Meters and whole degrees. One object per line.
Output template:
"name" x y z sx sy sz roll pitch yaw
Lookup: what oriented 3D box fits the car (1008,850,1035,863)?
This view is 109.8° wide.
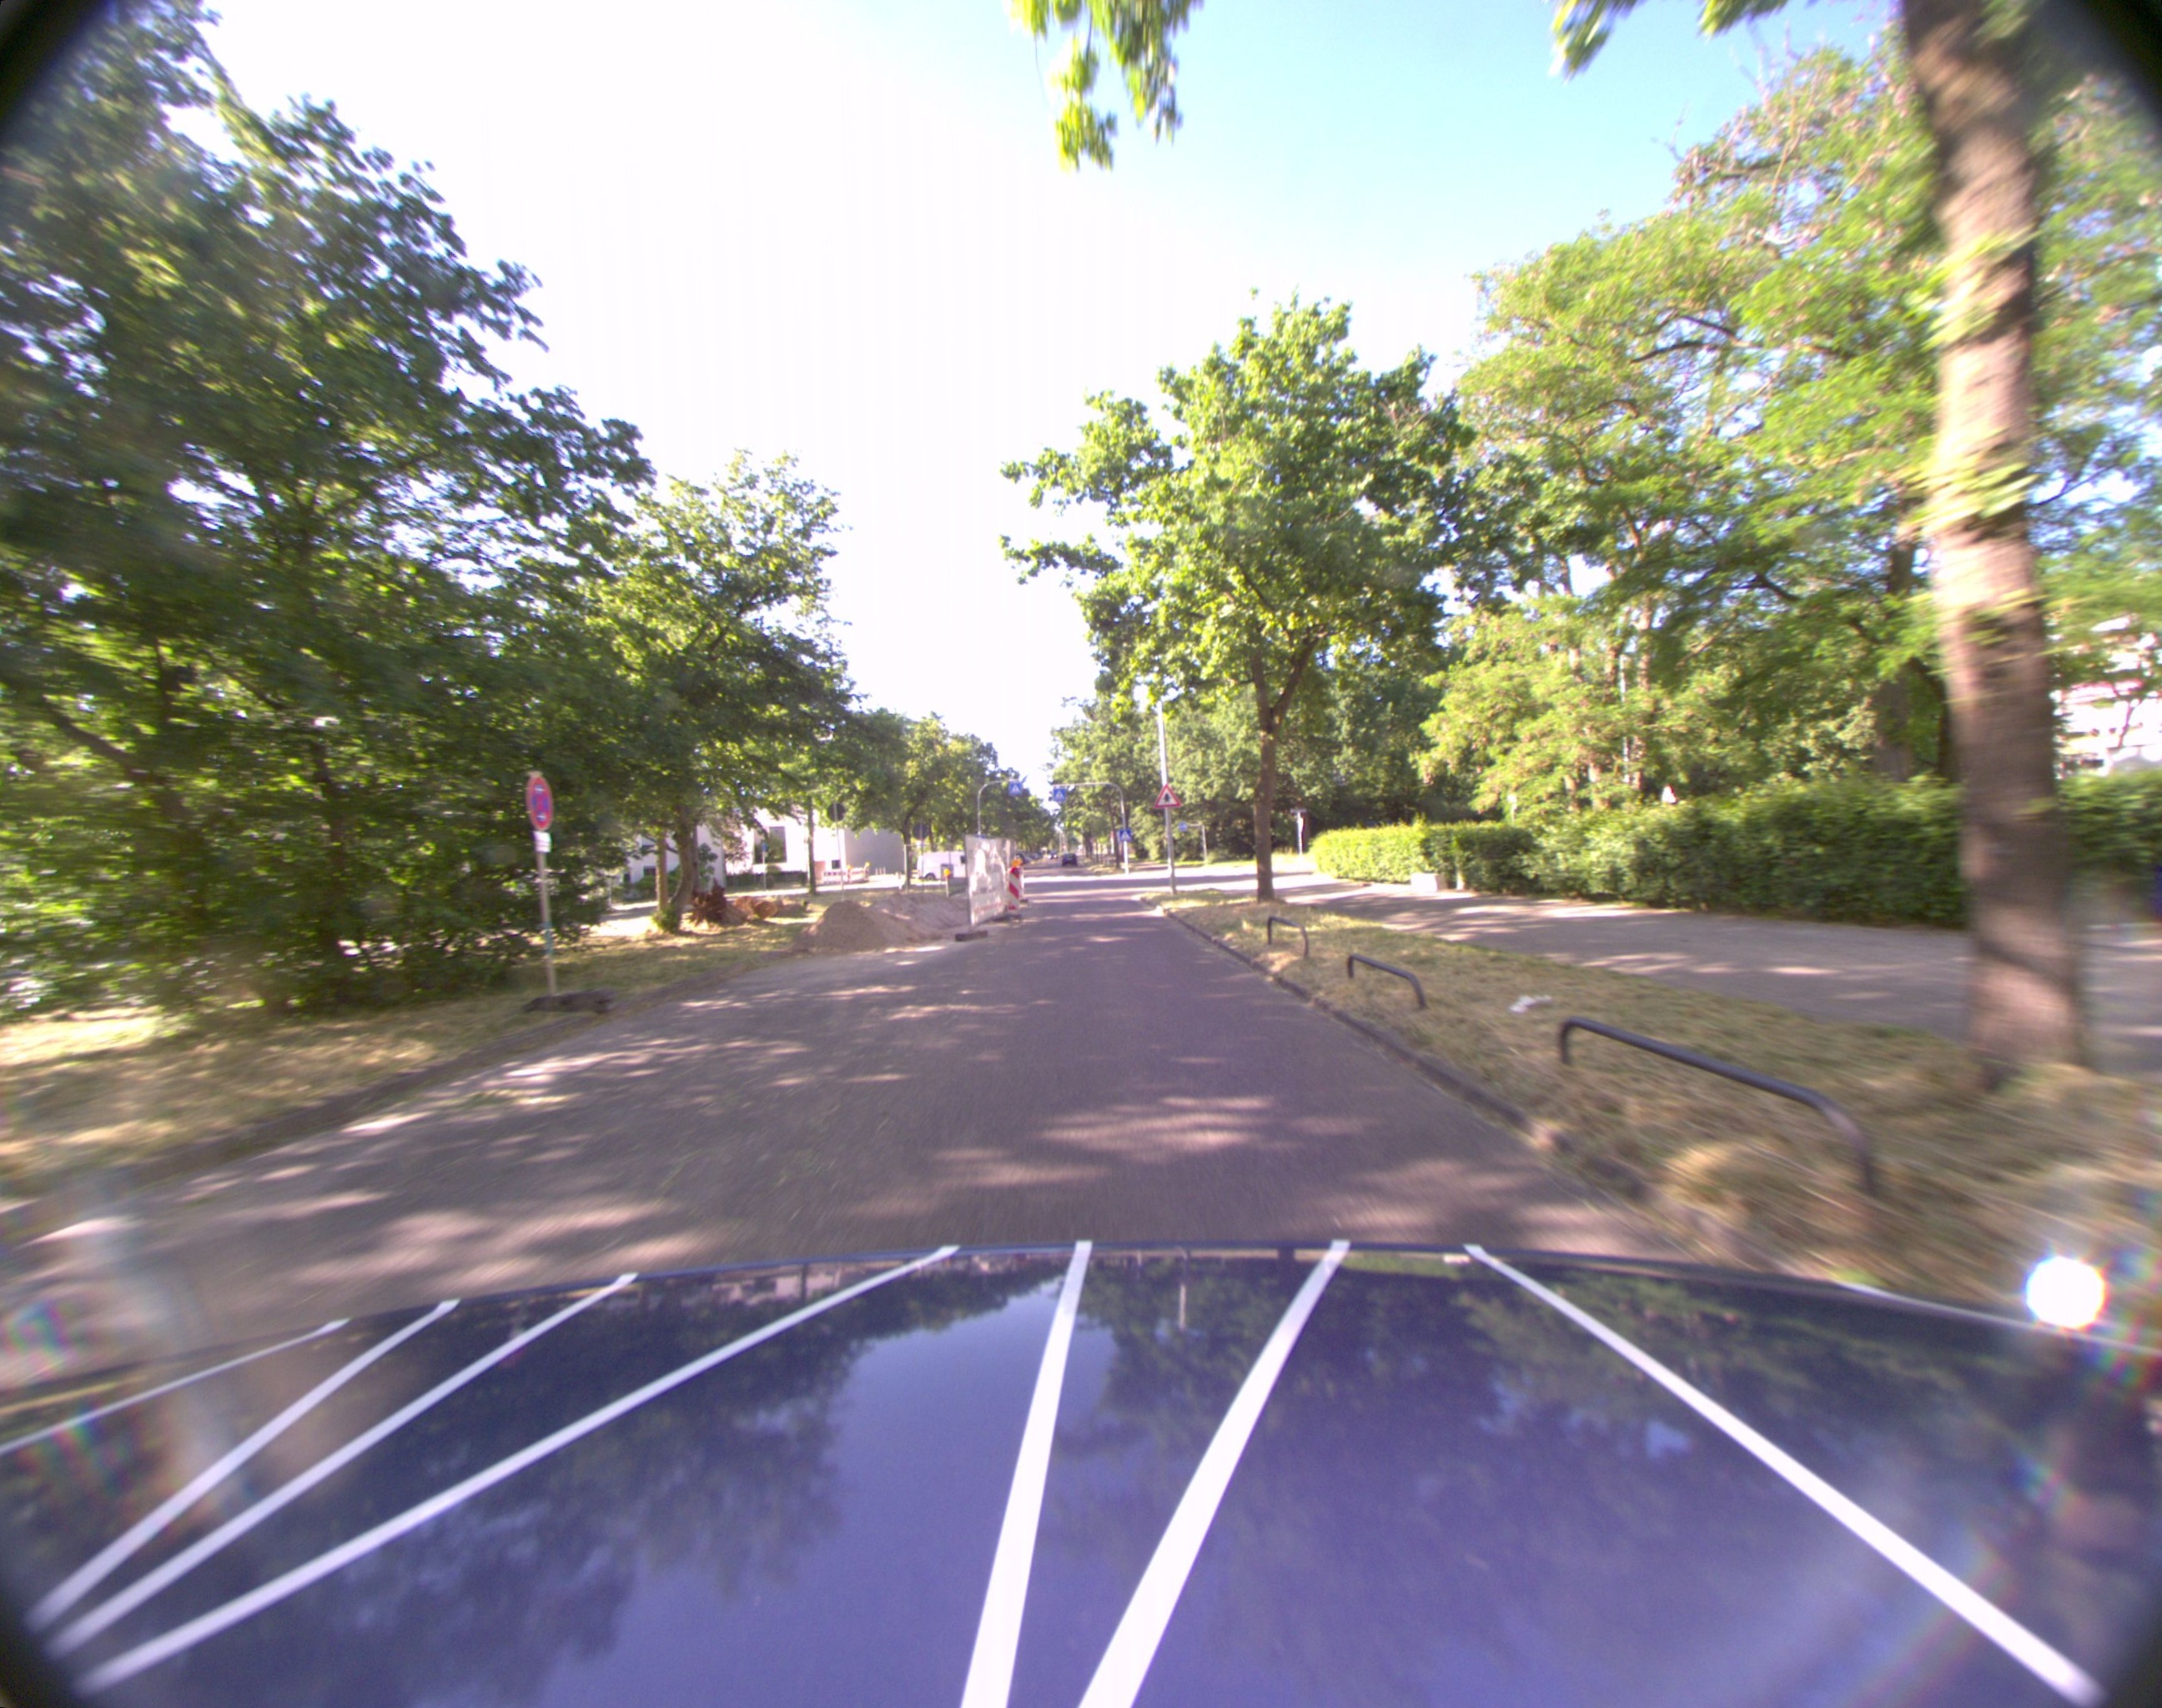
"car" -9.397 0.378 120.509 3.997 1.838 1.863 -4 1 0

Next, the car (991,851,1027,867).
"car" -9.254 0.675 97.854 4.395 1.733 1.532 -4 1 1

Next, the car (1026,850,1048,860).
"car" -8.876 0.153 152.756 4.152 1.838 1.949 -4 1 0

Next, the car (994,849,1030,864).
"car" -9.094 0.327 100.223 4.395 1.733 1.532 -4 1 1

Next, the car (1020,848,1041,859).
"car" -10.411 -0.124 157.782 4.152 1.838 1.949 -4 1 0

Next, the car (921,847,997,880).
"car" -8.568 0.632 53.665 5.046 2.069 1.890 -3 1 -1

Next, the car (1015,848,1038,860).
"car" -10.148 -0.022 141.447 4.152 1.838 1.949 -4 1 0
